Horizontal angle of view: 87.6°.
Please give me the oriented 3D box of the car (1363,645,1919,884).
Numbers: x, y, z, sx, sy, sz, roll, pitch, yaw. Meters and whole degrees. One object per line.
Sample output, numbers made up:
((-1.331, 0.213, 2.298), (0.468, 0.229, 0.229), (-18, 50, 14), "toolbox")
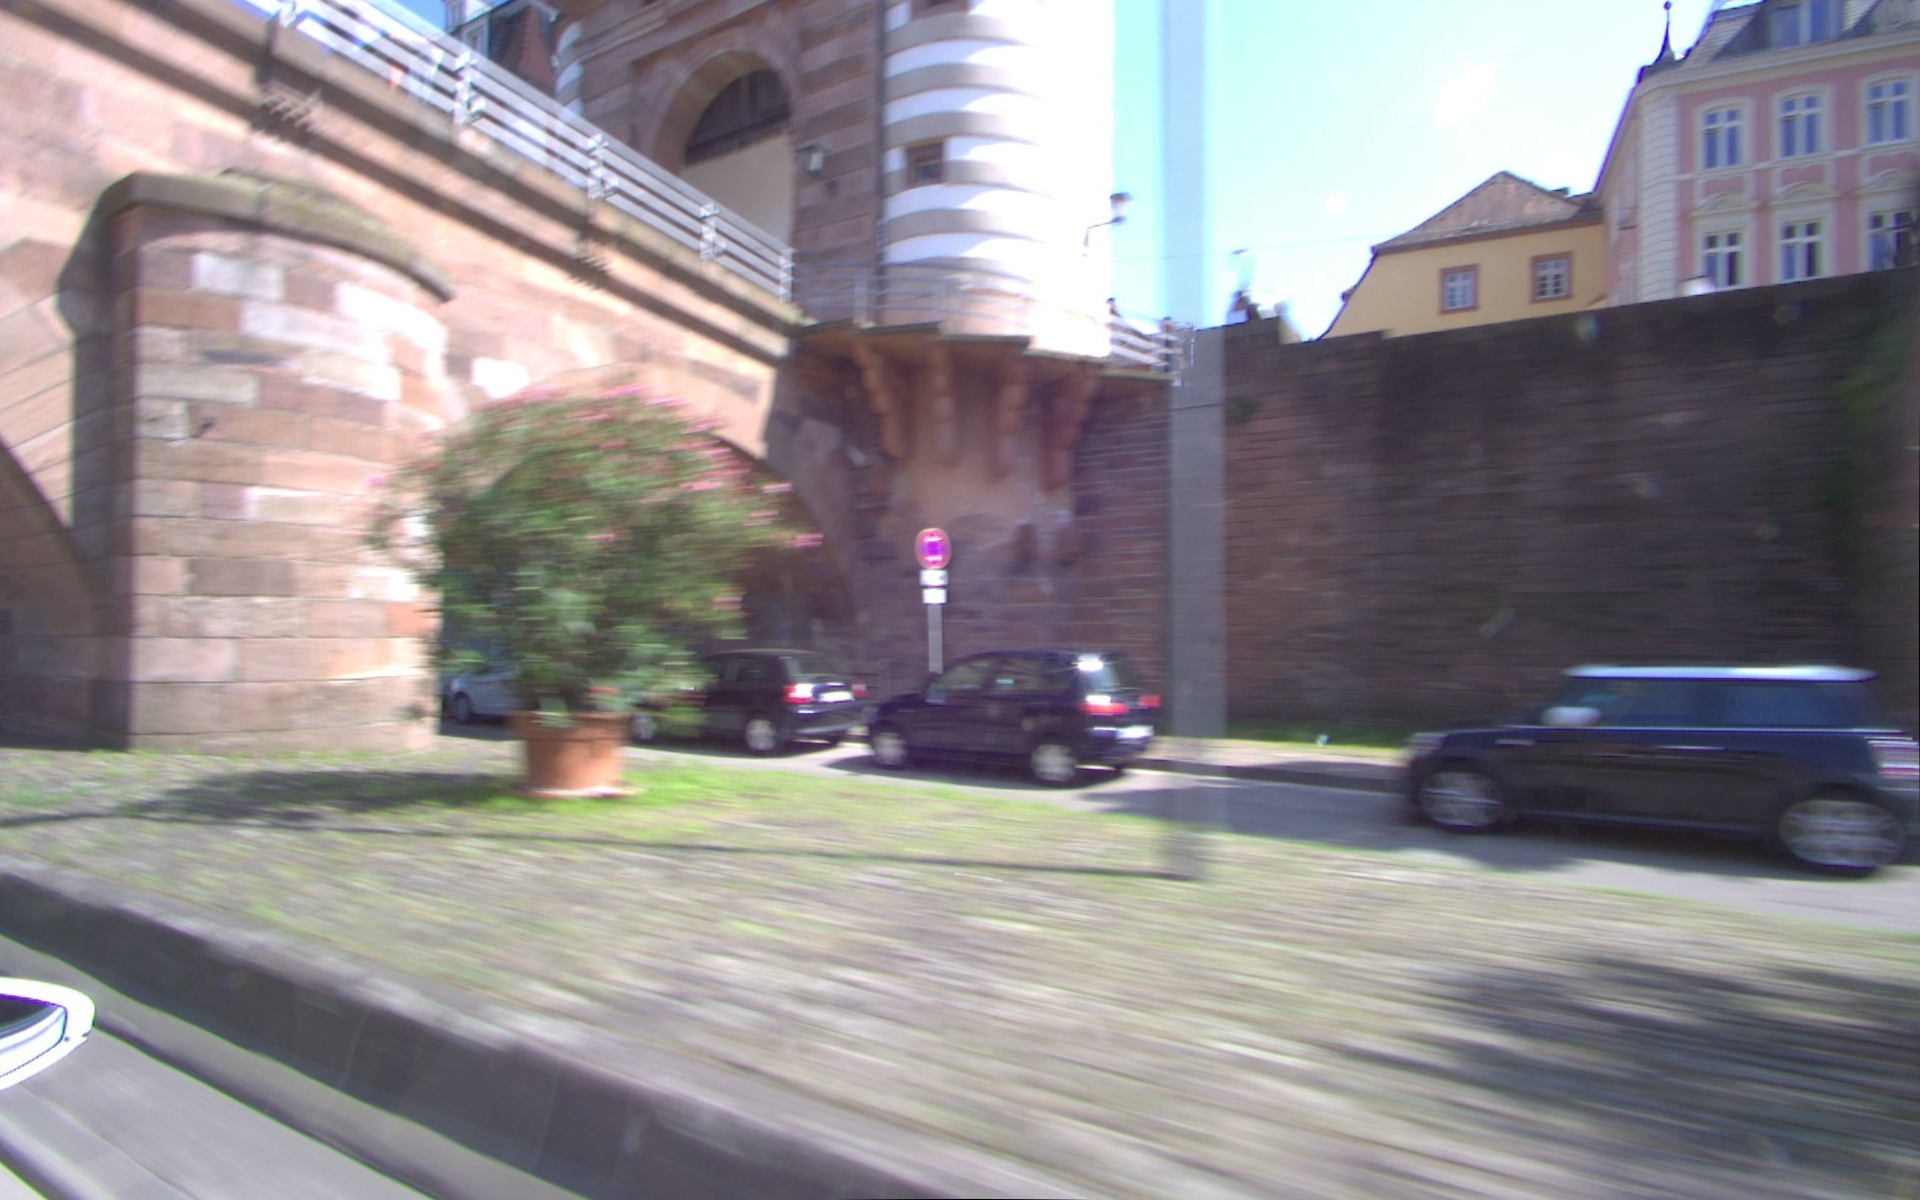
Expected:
((5.573, 1.156, 8.284), (3.859, 1.540, 1.584), (-2, -3, 41), "car")

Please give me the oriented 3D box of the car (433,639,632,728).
((-7.801, 1.456, 18.224), (3.516, 1.438, 1.552), (0, -2, 31), "car")

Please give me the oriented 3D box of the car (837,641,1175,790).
((0.486, 1.293, 12.459), (3.937, 1.522, 1.769), (-1, -1, 38), "car")

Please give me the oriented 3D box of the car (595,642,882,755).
((-3.472, 1.399, 15.371), (4.431, 1.455, 1.771), (-1, -1, 34), "car")

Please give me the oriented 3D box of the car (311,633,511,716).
((-11.433, 1.456, 20.759), (4.356, 1.512, 1.888), (-1, -1, 35), "car")
